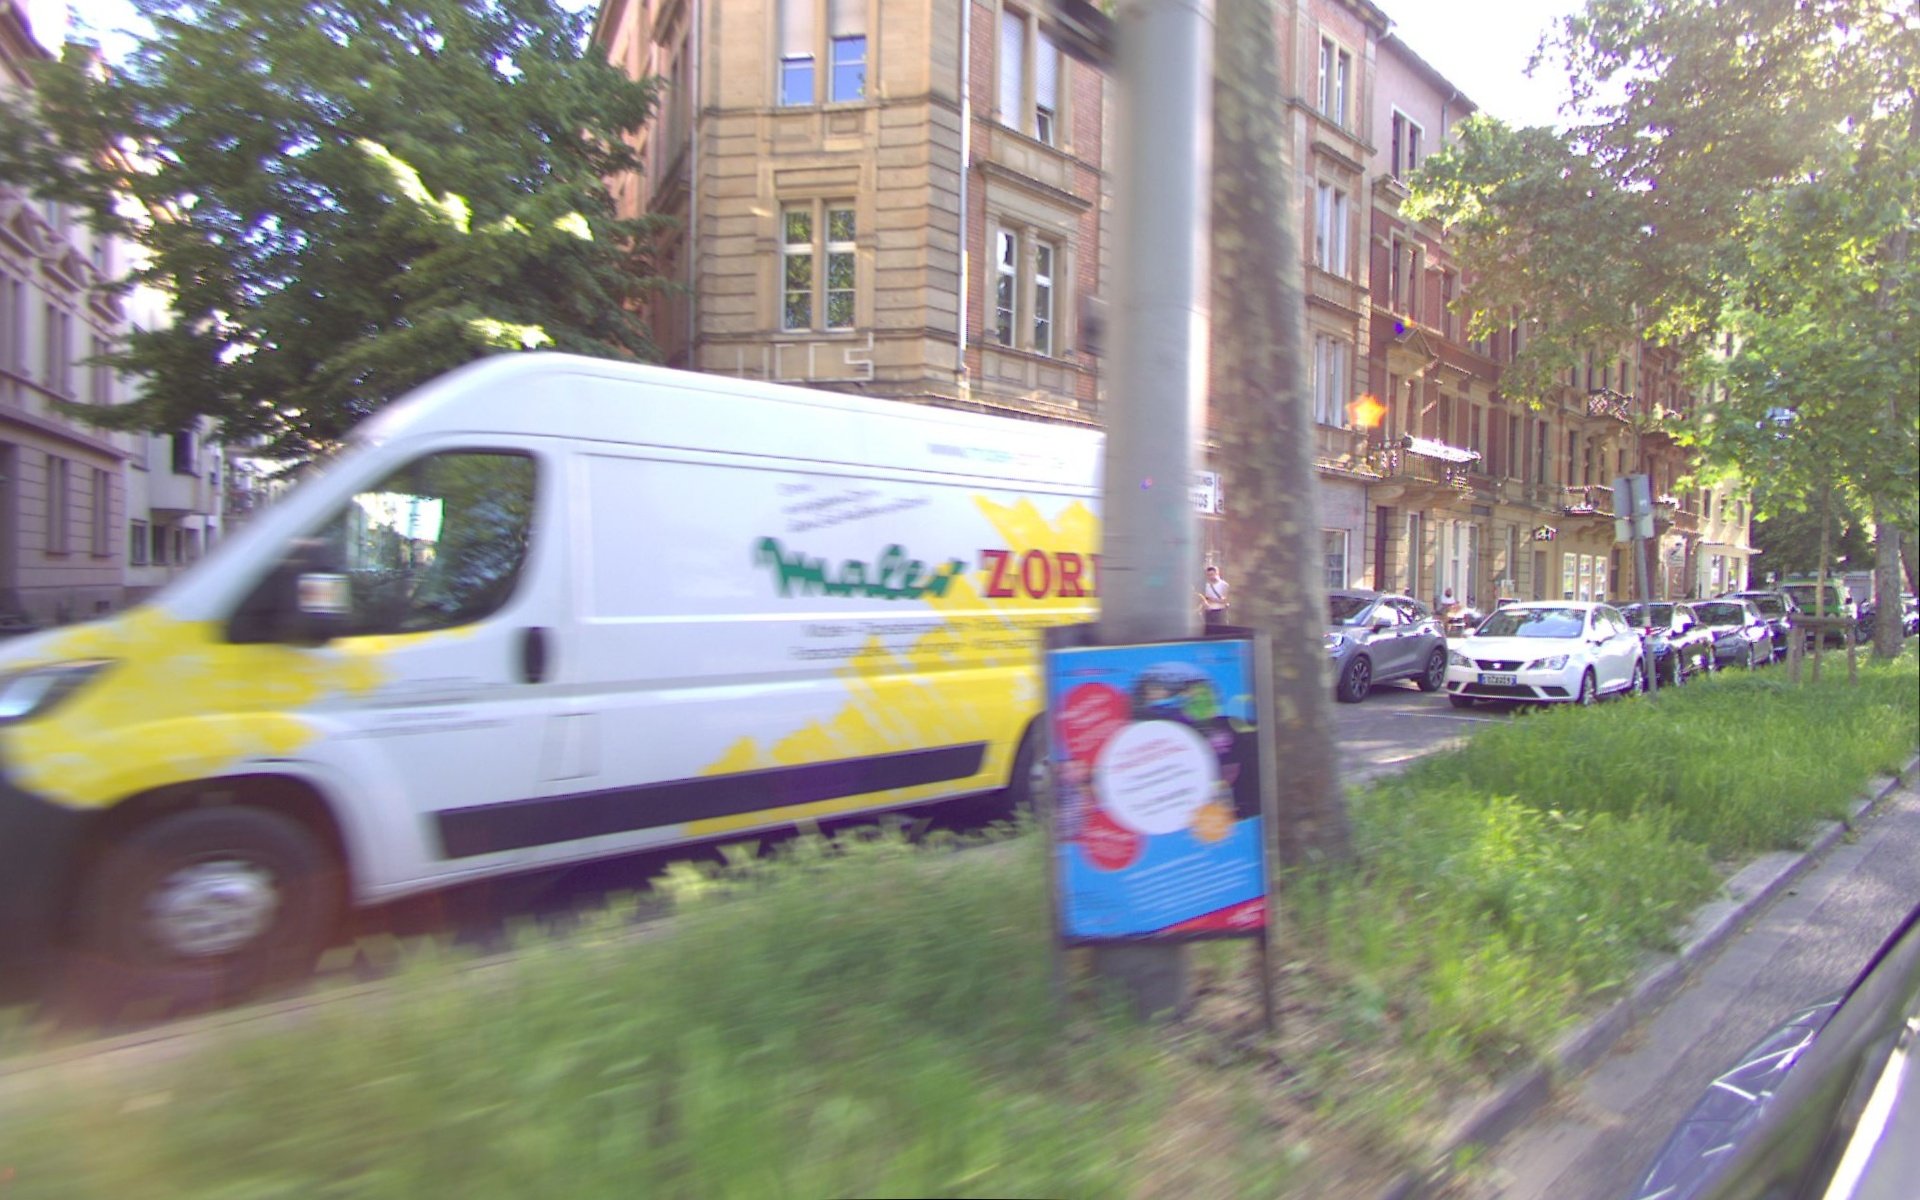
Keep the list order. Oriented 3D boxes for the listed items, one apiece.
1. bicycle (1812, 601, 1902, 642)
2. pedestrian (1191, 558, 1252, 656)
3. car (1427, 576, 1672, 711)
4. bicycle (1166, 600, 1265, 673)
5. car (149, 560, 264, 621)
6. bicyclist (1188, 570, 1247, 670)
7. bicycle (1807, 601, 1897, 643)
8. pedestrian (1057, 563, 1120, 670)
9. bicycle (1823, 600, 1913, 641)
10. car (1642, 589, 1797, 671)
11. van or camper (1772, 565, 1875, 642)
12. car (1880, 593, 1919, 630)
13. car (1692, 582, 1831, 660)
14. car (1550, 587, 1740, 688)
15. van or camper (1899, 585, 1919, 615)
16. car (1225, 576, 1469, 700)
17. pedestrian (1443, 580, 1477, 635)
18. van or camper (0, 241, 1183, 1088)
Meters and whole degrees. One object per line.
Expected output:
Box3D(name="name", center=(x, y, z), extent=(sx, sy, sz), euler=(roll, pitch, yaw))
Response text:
Box3D(name="bicycle", center=(30.240, 0.689, 34.134), extent=(0.966, 1.310, 2.168), euler=(0, 0, -41))
Box3D(name="pedestrian", center=(4.968, 0.118, 19.232), extent=(0.941, 1.810, 0.693), euler=(0, 1, -41))
Box3D(name="car", center=(8.226, 0.526, 13.973), extent=(4.113, 1.592, 1.755), euler=(0, -1, -42))
Box3D(name="bicycle", center=(4.338, 0.582, 17.120), extent=(1.866, 1.141, 0.671), euler=(0, 1, -41))
Box3D(name="car", center=(-20.810, -0.305, 28.128), extent=(1.959, 1.549, 4.286), euler=(1, 1, -29))
Box3D(name="bicyclist", center=(4.359, 0.324, 17.137), extent=(0.686, 1.635, 0.660), euler=(0, 1, -41))
Box3D(name="bicycle", center=(29.298, 0.704, 33.289), extent=(2.160, 1.310, 0.969), euler=(1, 0, 39))
Box3D(name="pedestrian", center=(2.112, 0.254, 16.661), extent=(0.739, 1.705, 0.693), euler=(0, 1, -41))
Box3D(name="bicycle", center=(31.180, 0.686, 34.773), extent=(0.965, 1.310, 2.169), euler=(0, 0, -39))
Box3D(name="car", center=(15.315, 0.549, 20.328), extent=(4.291, 1.483, 1.738), euler=(0, -1, -43))
Box3D(name="van or camper", center=(25.848, 0.119, 30.247), extent=(4.694, 2.125, 1.835), euler=(0, -1, -44))
Box3D(name="car", center=(42.202, 0.534, 44.743), extent=(4.501, 1.526, 1.698), euler=(1, 1, -41))
Box3D(name="car", center=(18.984, 0.454, 23.880), extent=(4.720, 1.668, 1.892), euler=(0, -1, -43))
Box3D(name="car", center=(11.775, 0.574, 17.293), extent=(4.113, 1.516, 1.755), euler=(0, -1, -42))
Box3D(name="van or camper", center=(76.369, -0.014, 80.242), extent=(5.723, 2.315, 2.294), euler=(0, 1, -42))
Box3D(name="car", center=(6.013, 0.488, 15.516), extent=(4.112, 1.598, 1.757), euler=(0, 2, -42))
Box3D(name="pedestrian", center=(14.468, 0.207, 29.292), extent=(0.682, 1.566, 0.648), euler=(0, 1, -43))
Box3D(name="van or camper", center=(-1.635, 0.185, 5.414), extent=(6.155, 2.512, 2.188), euler=(0, -1, -39))
